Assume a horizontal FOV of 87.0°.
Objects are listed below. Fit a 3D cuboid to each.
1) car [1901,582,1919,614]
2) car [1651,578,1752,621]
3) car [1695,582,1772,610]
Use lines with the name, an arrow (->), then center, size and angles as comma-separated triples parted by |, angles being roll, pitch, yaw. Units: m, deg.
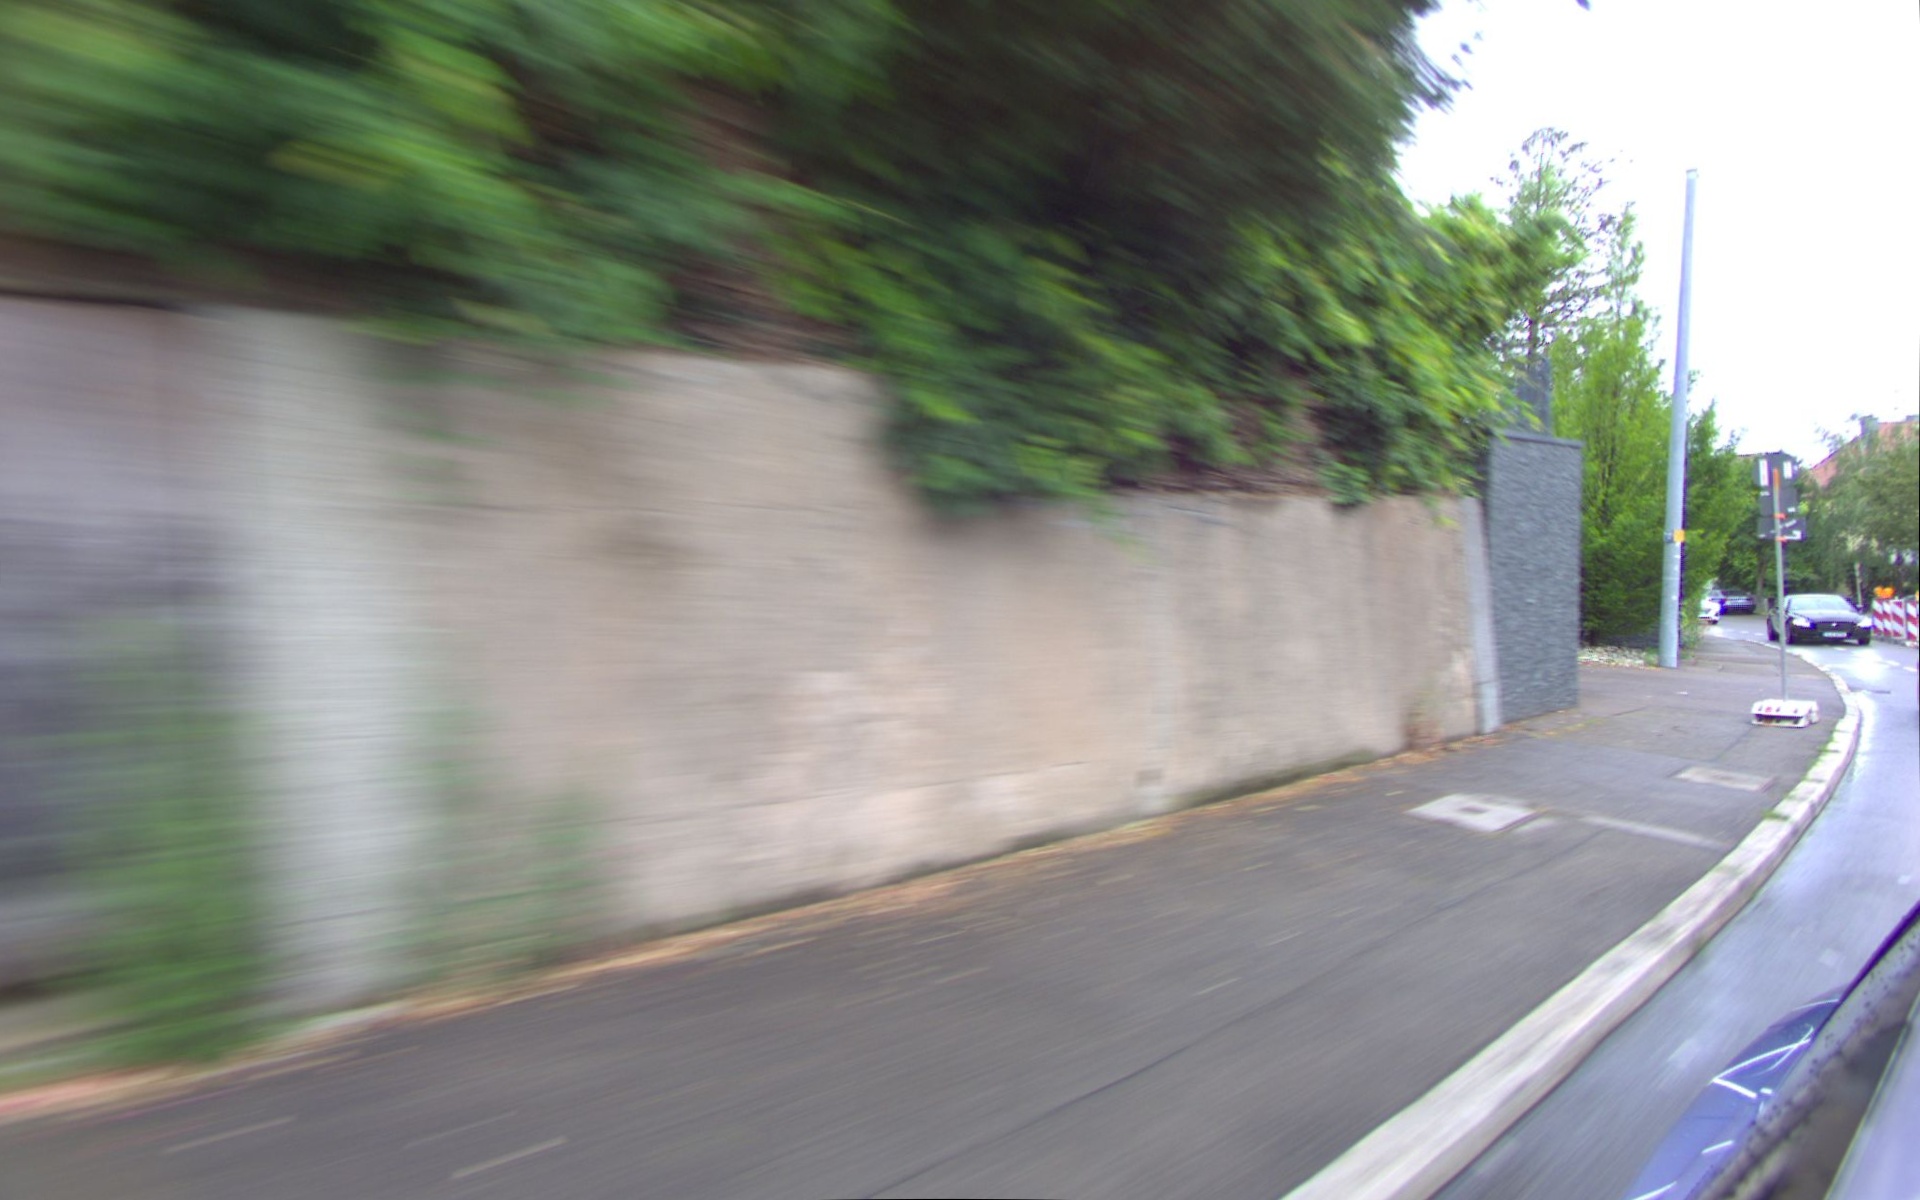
car -> 48.782, 0.102, 48.974 | 4.211, 1.522, 1.898 | 7, 4, 25
car -> 34.186, -0.049, 46.829 | 1.989, 1.760, 4.582 | -4, 0, 13
car -> 42.902, -0.256, 56.227 | 1.687, 1.400, 4.510 | -3, 1, 14
